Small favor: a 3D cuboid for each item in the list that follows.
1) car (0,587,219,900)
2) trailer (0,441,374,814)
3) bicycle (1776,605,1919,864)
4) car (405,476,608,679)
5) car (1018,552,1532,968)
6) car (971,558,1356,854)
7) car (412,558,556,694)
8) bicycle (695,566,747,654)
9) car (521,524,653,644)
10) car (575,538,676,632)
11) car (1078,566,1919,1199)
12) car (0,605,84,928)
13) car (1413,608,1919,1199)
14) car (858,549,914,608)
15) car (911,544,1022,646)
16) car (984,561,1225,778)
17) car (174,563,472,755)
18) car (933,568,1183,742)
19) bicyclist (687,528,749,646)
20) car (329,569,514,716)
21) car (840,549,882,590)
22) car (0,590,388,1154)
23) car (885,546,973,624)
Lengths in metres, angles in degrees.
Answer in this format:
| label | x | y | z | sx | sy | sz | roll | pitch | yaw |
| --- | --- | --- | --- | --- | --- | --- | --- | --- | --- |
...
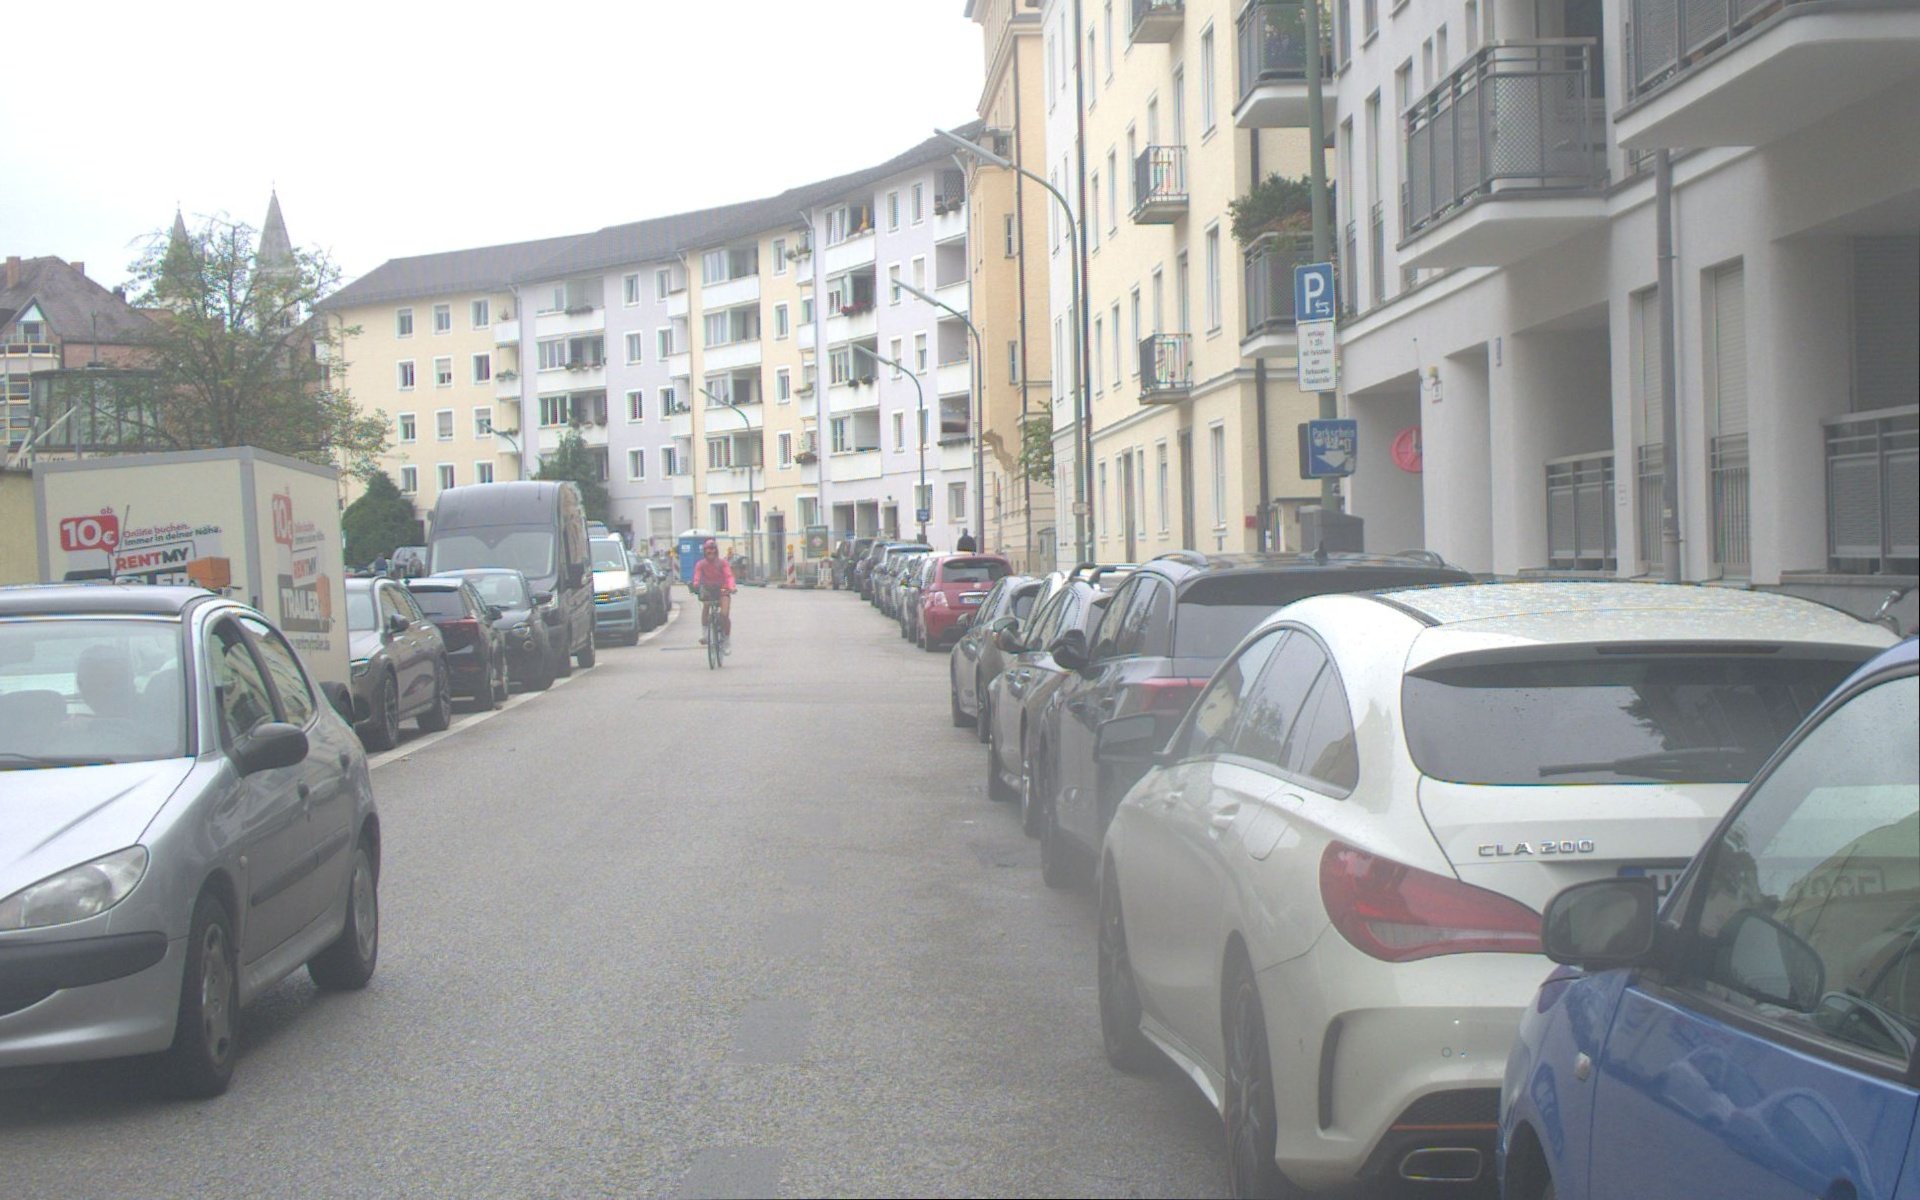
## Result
| label | x | y | z | sx | sy | sz | roll | pitch | yaw |
| --- | --- | --- | --- | --- | --- | --- | --- | --- | --- |
| car | -5.602 | 0.791 | 20.320 | 1.686 | 1.597 | 3.922 | -3 | 1 | -3 |
| trailer | -5.728 | 0.143 | 25.593 | 1.709 | 2.453 | 4.386 | -3 | 1 | 2 |
| bicycle | 4.711 | 0.630 | 17.113 | 0.627 | 1.156 | 2.128 | -2 | 1 | -4 |
| car | -6.244 | -0.361 | 47.948 | 2.088 | 2.627 | 5.377 | -1 | 1 | 0 |
| car | 1.213 | 0.573 | 14.819 | 1.603 | 1.525 | 3.985 | 1 | 1 | -3 |
| car | 1.085 | 0.533 | 20.456 | 1.734 | 1.525 | 4.622 | 1 | 1 | -3 |
| car | -5.851 | 0.282 | 42.572 | 1.585 | 1.533 | 3.544 | -2 | 1 | -6 |
| bicycle | -3.237 | 0.125 | 46.644 | 0.504 | 1.124 | 1.773 | -2 | 1 | 1 |
| car | -6.540 | -0.318 | 60.659 | 1.882 | 1.925 | 4.601 | -3 | 1 | -2 |
| car | -6.555 | -0.317 | 67.664 | 1.701 | 1.685 | 4.028 | -3 | 1 | -3 |
| car | 1.323 | 0.659 | 8.516 | 1.658 | 1.435 | 4.207 | 1 | 1 | -3 |
| car | -5.149 | 0.786 | 14.698 | 1.860 | 1.408 | 4.334 | -3 | 0 | -3 |
| car | 1.699 | 0.744 | 4.130 | 1.618 | 1.407 | 3.554 | 1 | 0 | -4 |
| car | -2.151 | -0.630 | 99.002 | 1.474 | 1.635 | 4.001 | 0 | 1 | -3 |
| car | 0.075 | -0.107 | 54.291 | 1.595 | 1.503 | 3.801 | -1 | 1 | -2 |
| car | 1.041 | 0.472 | 26.188 | 1.519 | 1.525 | 3.527 | 0 | 1 | -3 |
| car | -5.748 | 0.479 | 31.557 | 1.766 | 1.533 | 4.541 | -3 | 1 | 1 |
| car | 0.792 | 0.441 | 30.323 | 1.763 | 1.403 | 4.079 | -1 | 0 | -5 |
| bicyclist | -3.277 | -0.179 | 46.550 | 0.694 | 1.556 | 0.966 | -2 | 1 | 1 |
| car | -5.870 | 0.427 | 37.826 | 1.700 | 1.441 | 3.825 | -1 | 2 | -4 |
| car | -3.201 | -0.997 | 110.836 | 1.272 | 1.294 | 2.798 | -1 | 1 | -3 |
| car | -2.830 | 0.700 | 10.513 | 1.581 | 1.406 | 3.613 | -2 | 0 | -1 |
| car | -0.651 | -0.324 | 69.976 | 1.599 | 1.486 | 3.799 | -1 | 1 | -3 |
